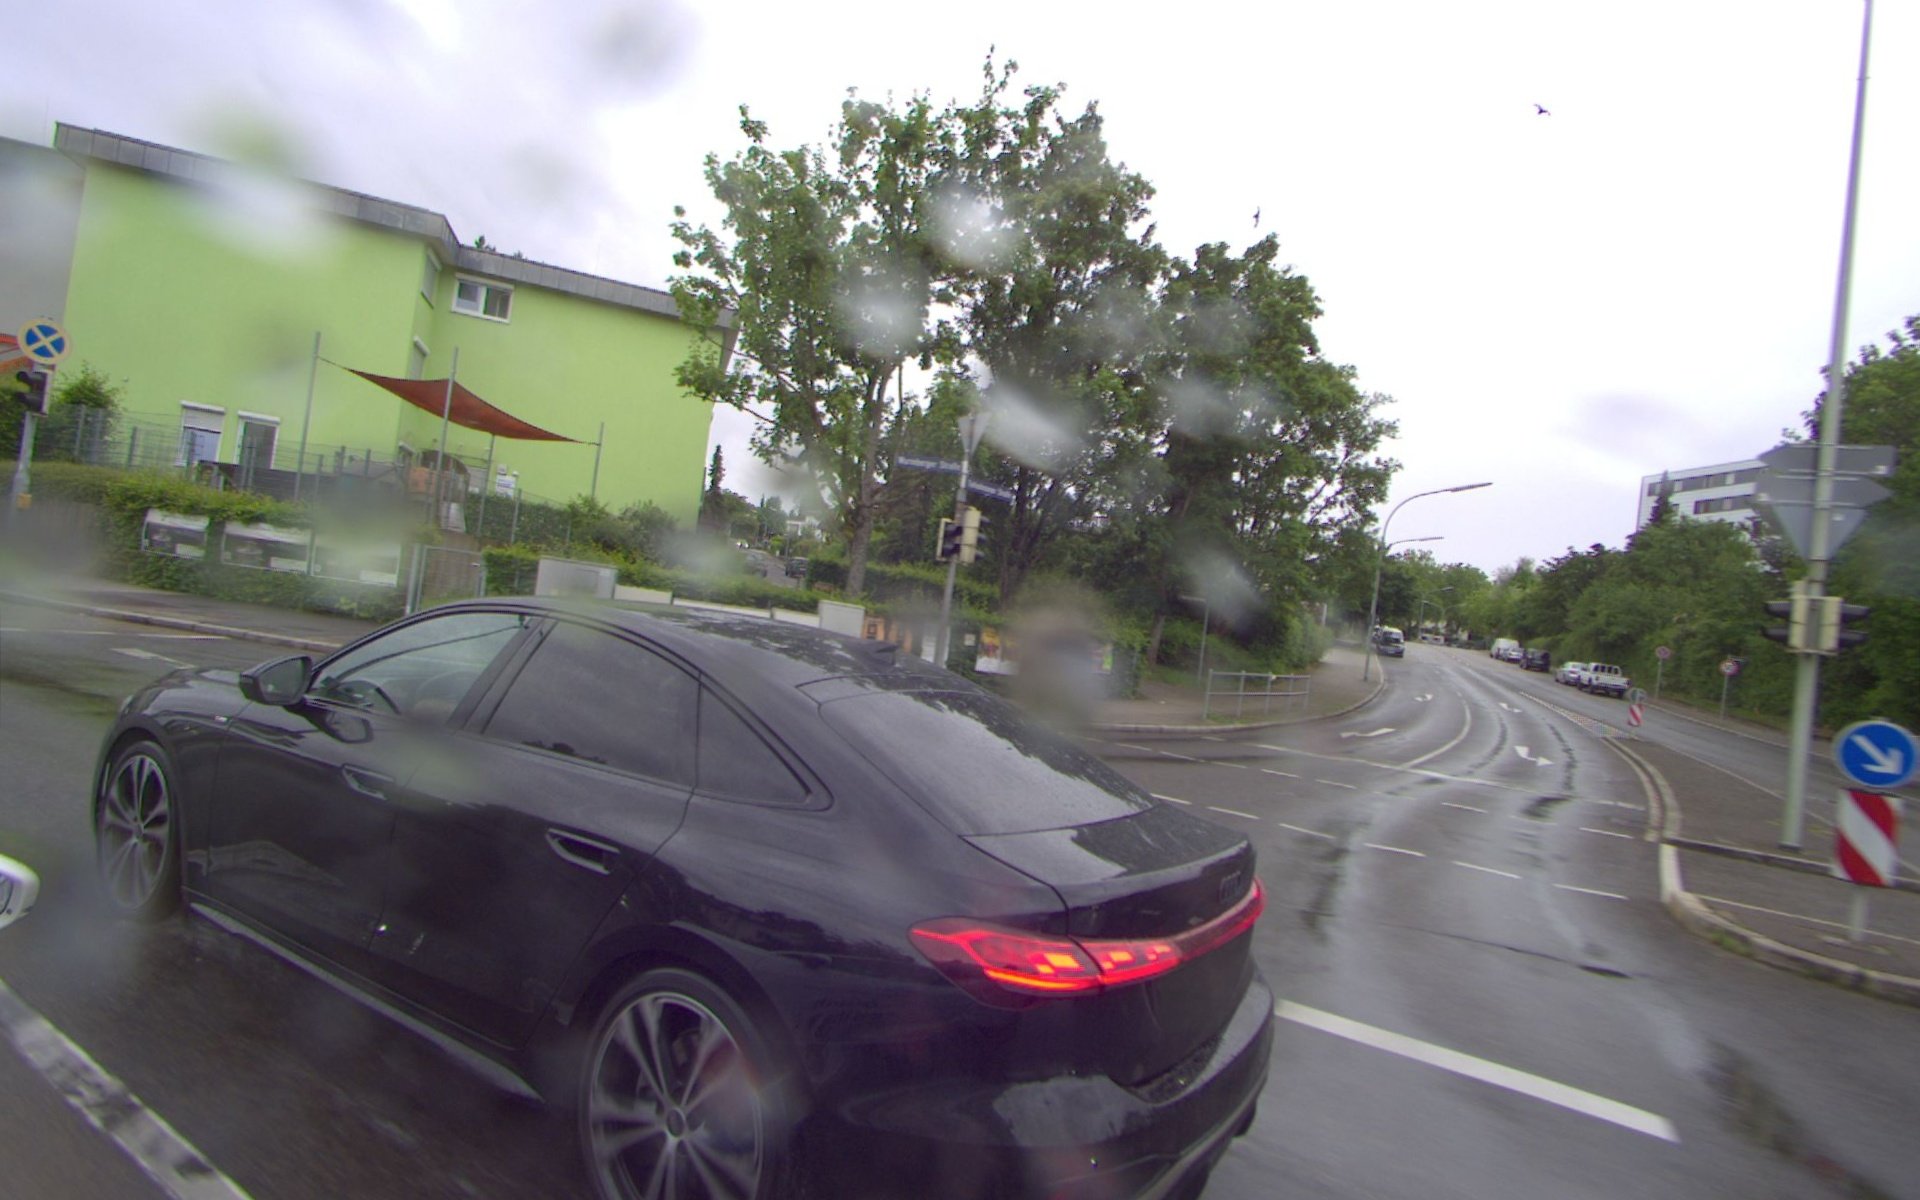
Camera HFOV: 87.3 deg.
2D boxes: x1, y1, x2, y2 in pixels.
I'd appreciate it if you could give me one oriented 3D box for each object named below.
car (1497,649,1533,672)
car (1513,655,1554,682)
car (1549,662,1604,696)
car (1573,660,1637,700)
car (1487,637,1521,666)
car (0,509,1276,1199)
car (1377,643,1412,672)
[{"bbox_3d":[49.792,5.417,90.303,1.963,1.828,4.000,6,0,19],"label":"car"},{"bbox_3d":[45.450,5.367,79.785,1.963,1.828,4.000,6,0,19],"label":"car"},{"bbox_3d":[39.303,5.022,64.220,1.963,1.828,4.000,6,0,19],"label":"car"},{"bbox_3d":[36.949,4.546,57.749,1.963,1.900,4.211,6,0,19],"label":"car"},{"bbox_3d":[51.676,4.899,95.690,1.963,2.417,4.000,6,0,19],"label":"car"},{"bbox_3d":[-1.473,0.640,3.768,4.660,1.441,1.870,6,-2,31],"label":"car"},{"bbox_3d":[33.614,4.416,77.937,1.963,1.964,4.000,6,0,19],"label":"car"}]
